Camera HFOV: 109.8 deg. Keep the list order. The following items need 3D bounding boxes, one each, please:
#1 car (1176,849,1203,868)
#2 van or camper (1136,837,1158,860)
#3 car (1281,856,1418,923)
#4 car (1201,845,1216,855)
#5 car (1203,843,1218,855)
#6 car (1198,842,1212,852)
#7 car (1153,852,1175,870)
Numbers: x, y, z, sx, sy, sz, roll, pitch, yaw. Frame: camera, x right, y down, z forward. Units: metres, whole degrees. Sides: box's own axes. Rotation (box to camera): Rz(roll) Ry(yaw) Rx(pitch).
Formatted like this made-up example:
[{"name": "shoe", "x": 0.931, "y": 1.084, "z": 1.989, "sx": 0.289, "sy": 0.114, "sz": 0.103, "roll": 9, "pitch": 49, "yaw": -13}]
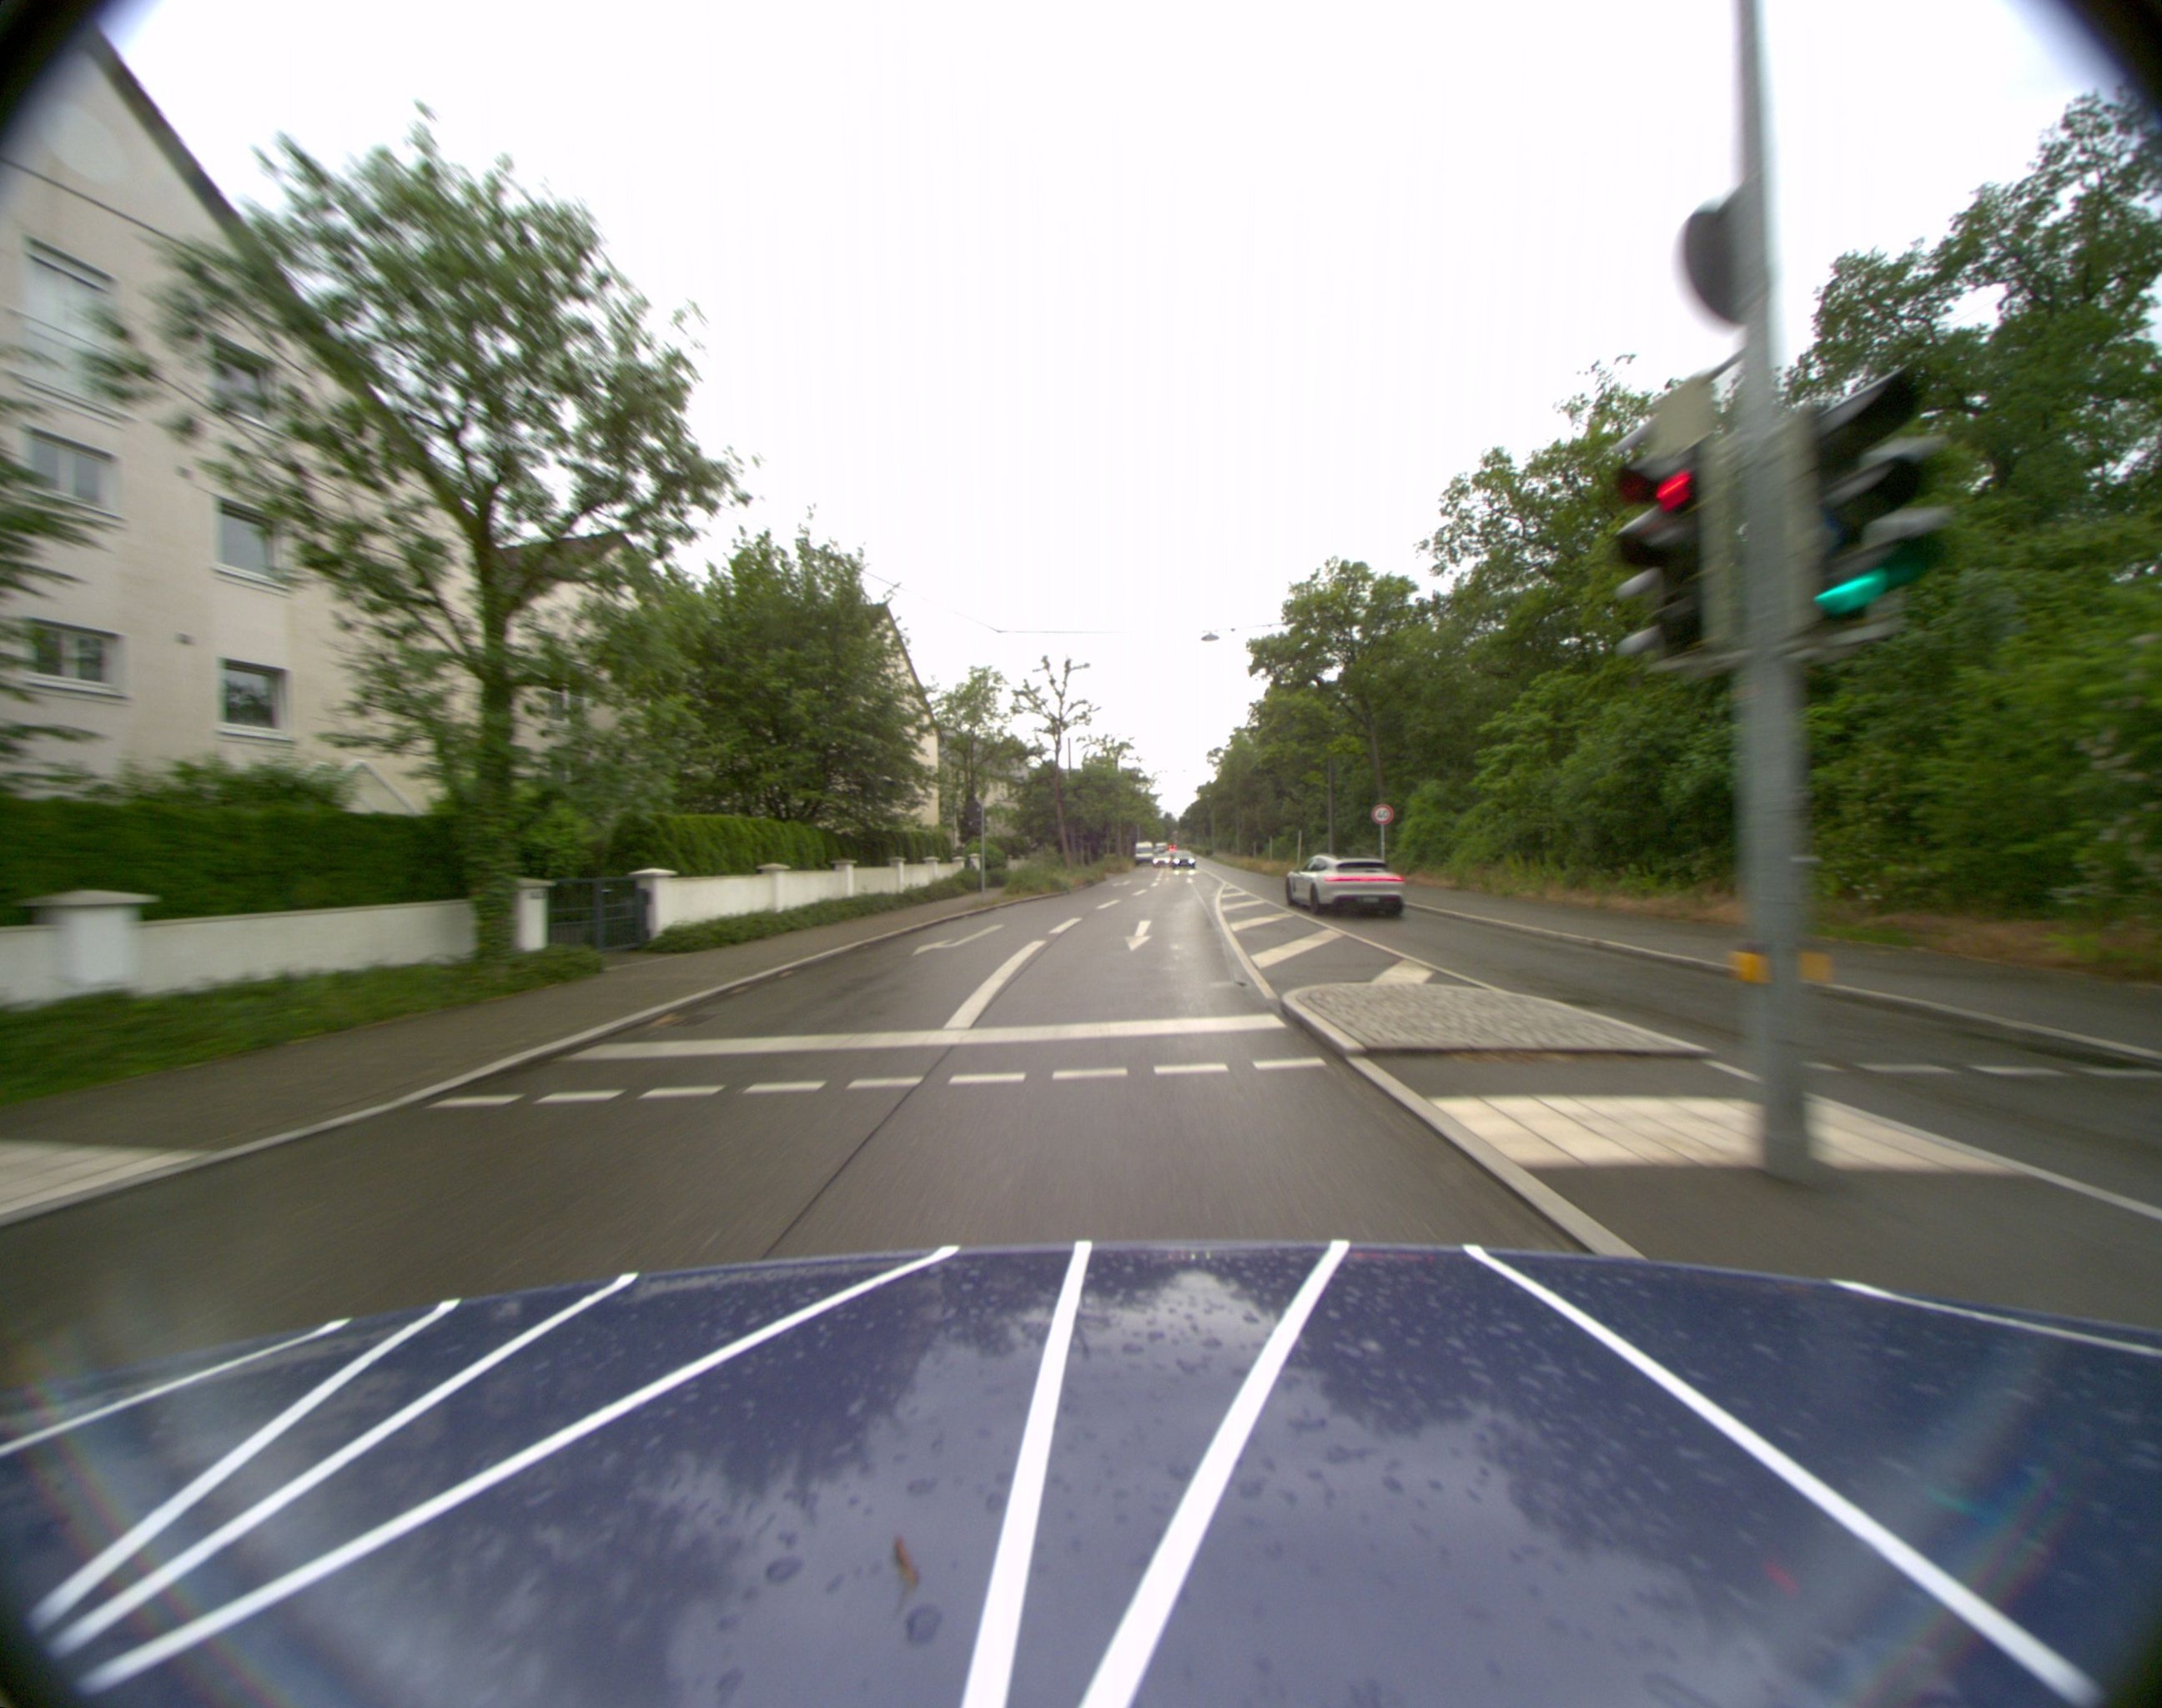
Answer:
[{"name": "car", "x": 8.793, "y": 0.360, "z": 61.880, "sx": 1.944, "sy": 1.446, "sz": 4.605, "roll": 0, "pitch": 1, "yaw": 5}, {"name": "van or camper", "x": 7.168, "y": -0.624, "z": 82.387, "sx": 1.997, "sy": 2.438, "sz": 4.724, "roll": -1, "pitch": 1, "yaw": 8}, {"name": "car", "x": 6.352, "y": 0.764, "z": 18.582, "sx": 1.944, "sy": 1.368, "sz": 4.605, "roll": 0, "pitch": 1, "yaw": 3}, {"name": "car", "x": 19.967, "y": -0.646, "z": 118.930, "sx": 1.944, "sy": 1.594, "sz": 4.605, "roll": 0, "pitch": 1, "yaw": 6}, {"name": "car", "x": 18.805, "y": -0.735, "z": 110.450, "sx": 1.944, "sy": 1.594, "sz": 4.605, "roll": 0, "pitch": 1, "yaw": 6}, {"name": "car", "x": 20.424, "y": -1.197, "z": 125.258, "sx": 1.944, "sy": 1.594, "sz": 4.605, "roll": 0, "pitch": 1, "yaw": 6}, {"name": "car", "x": 7.861, "y": 0.613, "z": 71.930, "sx": 1.944, "sy": 1.594, "sz": 4.605, "roll": 0, "pitch": 1, "yaw": 6}]
